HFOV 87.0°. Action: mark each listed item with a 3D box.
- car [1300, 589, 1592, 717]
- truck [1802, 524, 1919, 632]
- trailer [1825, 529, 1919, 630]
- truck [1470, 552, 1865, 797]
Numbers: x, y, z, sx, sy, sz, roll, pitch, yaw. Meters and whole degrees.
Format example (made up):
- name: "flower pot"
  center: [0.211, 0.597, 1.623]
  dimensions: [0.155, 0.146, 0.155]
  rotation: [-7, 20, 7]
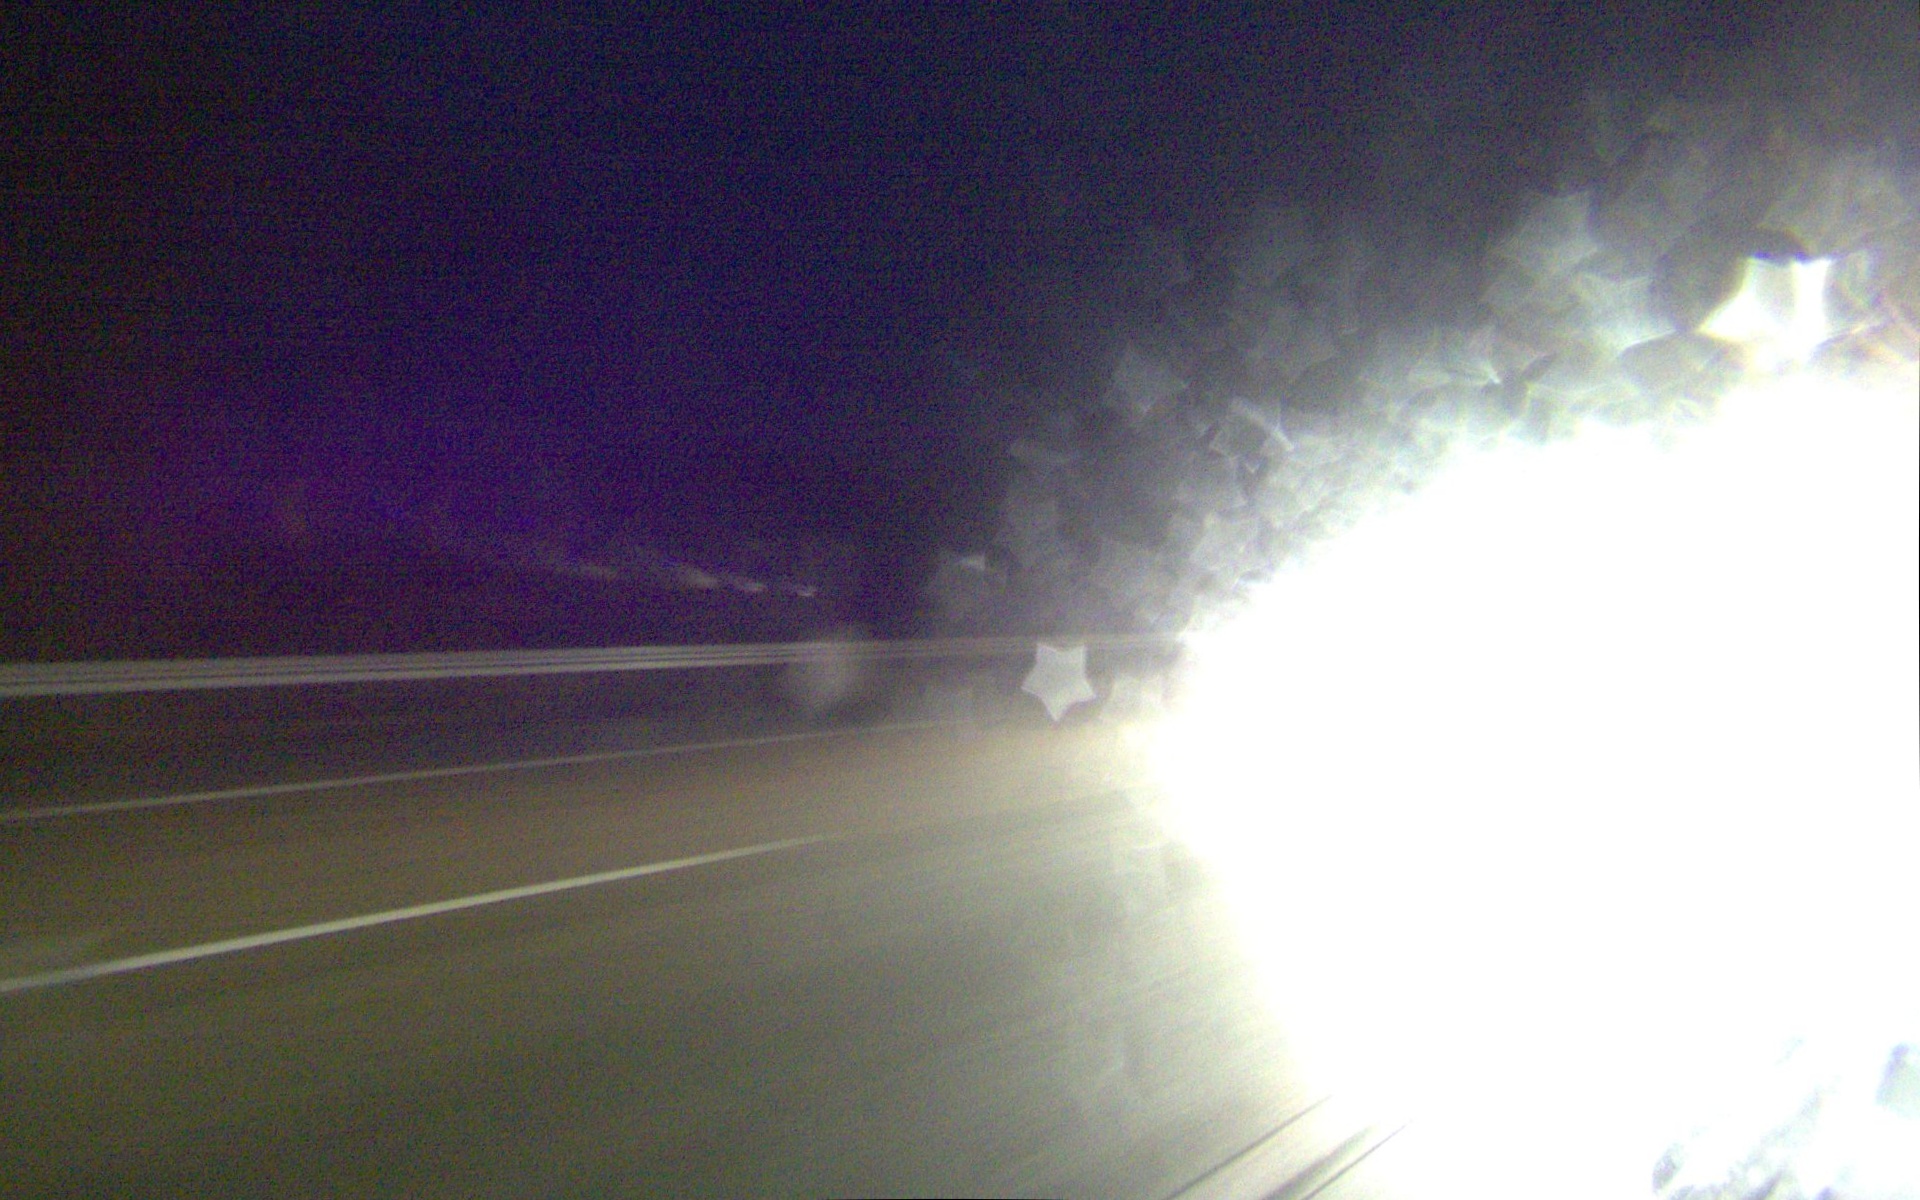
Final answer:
- name: "car"
  center: [6.981, 0.641, 14.230]
  dimensions: [5.271, 1.498, 1.746]
  rotation: [1, -1, -41]
- name: "truck"
  center: [37.817, -0.841, 42.208]
  dimensions: [6.888, 4.155, 2.865]
  rotation: [0, 0, -39]
- name: "trailer"
  center: [43.648, -0.882, 47.060]
  dimensions: [13.396, 4.149, 2.871]
  rotation: [0, 0, -39]
- name: "truck"
  center: [6.695, 0.507, 9.348]
  dimensions: [4.769, 1.717, 1.847]
  rotation: [0, 0, -40]
